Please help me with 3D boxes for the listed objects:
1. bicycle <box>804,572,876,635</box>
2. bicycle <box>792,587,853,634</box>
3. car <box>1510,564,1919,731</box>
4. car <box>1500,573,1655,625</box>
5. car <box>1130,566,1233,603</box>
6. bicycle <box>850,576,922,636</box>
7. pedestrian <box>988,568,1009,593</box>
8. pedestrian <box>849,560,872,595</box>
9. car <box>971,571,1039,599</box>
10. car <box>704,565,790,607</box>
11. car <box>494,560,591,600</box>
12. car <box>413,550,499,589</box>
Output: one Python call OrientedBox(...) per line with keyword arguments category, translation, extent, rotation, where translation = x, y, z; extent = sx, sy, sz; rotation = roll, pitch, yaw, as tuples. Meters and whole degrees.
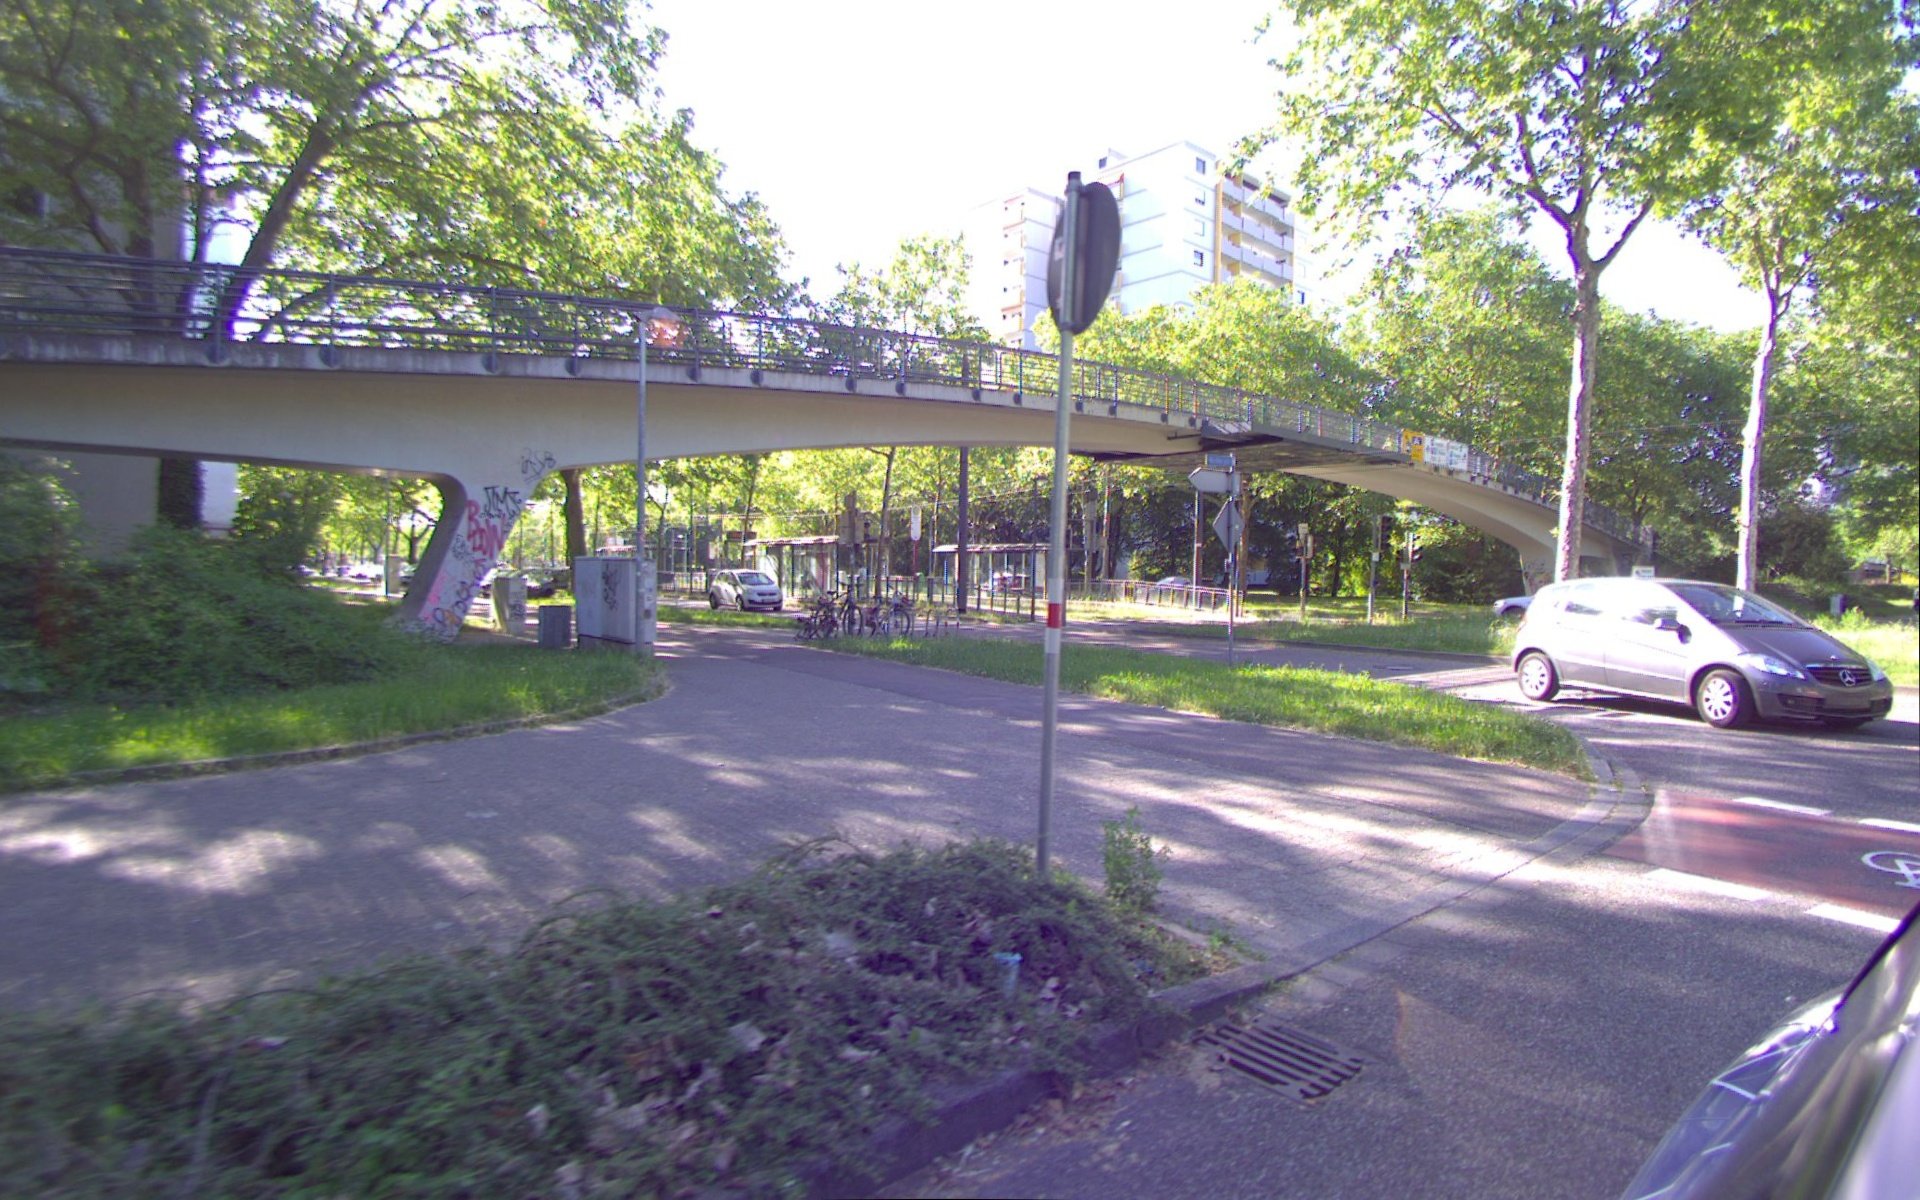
OrientedBox(category="bicycle", translation=(-2.443, 0.054, 20.455), extent=(0.580, 1.198, 1.800), rotation=(4, -1, -36))
OrientedBox(category="bicycle", translation=(-2.688, 0.197, 19.722), extent=(0.497, 0.863, 1.473), rotation=(4, -1, -36))
OrientedBox(category="car", translation=(8.573, 0.424, 11.807), extent=(1.762, 1.609, 3.770), rotation=(0, 1, -11))
OrientedBox(category="car", translation=(19.895, -0.080, 32.680), extent=(4.069, 1.529, 1.774), rotation=(2, 2, 40))
OrientedBox(category="car", translation=(9.895, -0.728, 45.432), extent=(1.769, 1.585, 4.282), rotation=(0, 2, -41))
OrientedBox(category="bicycle", translation=(-1.566, 0.109, 21.154), extent=(0.580, 1.198, 1.800), rotation=(4, -1, -36))
OrientedBox(category="pedestrian", translation=(1.917, -0.994, 50.837), extent=(0.766, 1.253, 0.722), rotation=(-1, 2, -37))
OrientedBox(category="pedestrian", translation=(-4.113, -0.947, 41.830), extent=(0.713, 1.435, 0.682), rotation=(0, 1, -36))
OrientedBox(category="car", translation=(2.597, -0.900, 59.746), extent=(1.766, 1.585, 4.288), rotation=(0, 2, -35))
OrientedBox(category="car", translation=(-8.426, -0.569, 39.802), extent=(1.767, 1.558, 3.999), rotation=(1, 1, -37))
OrientedBox(category="car", translation=(-16.962, -0.783, 41.311), extent=(1.771, 1.480, 3.988), rotation=(3, 0, 10))
OrientedBox(category="car", translation=(-29.714, -1.792, 59.800), extent=(1.988, 2.078, 4.569), rotation=(3, 0, 14))
